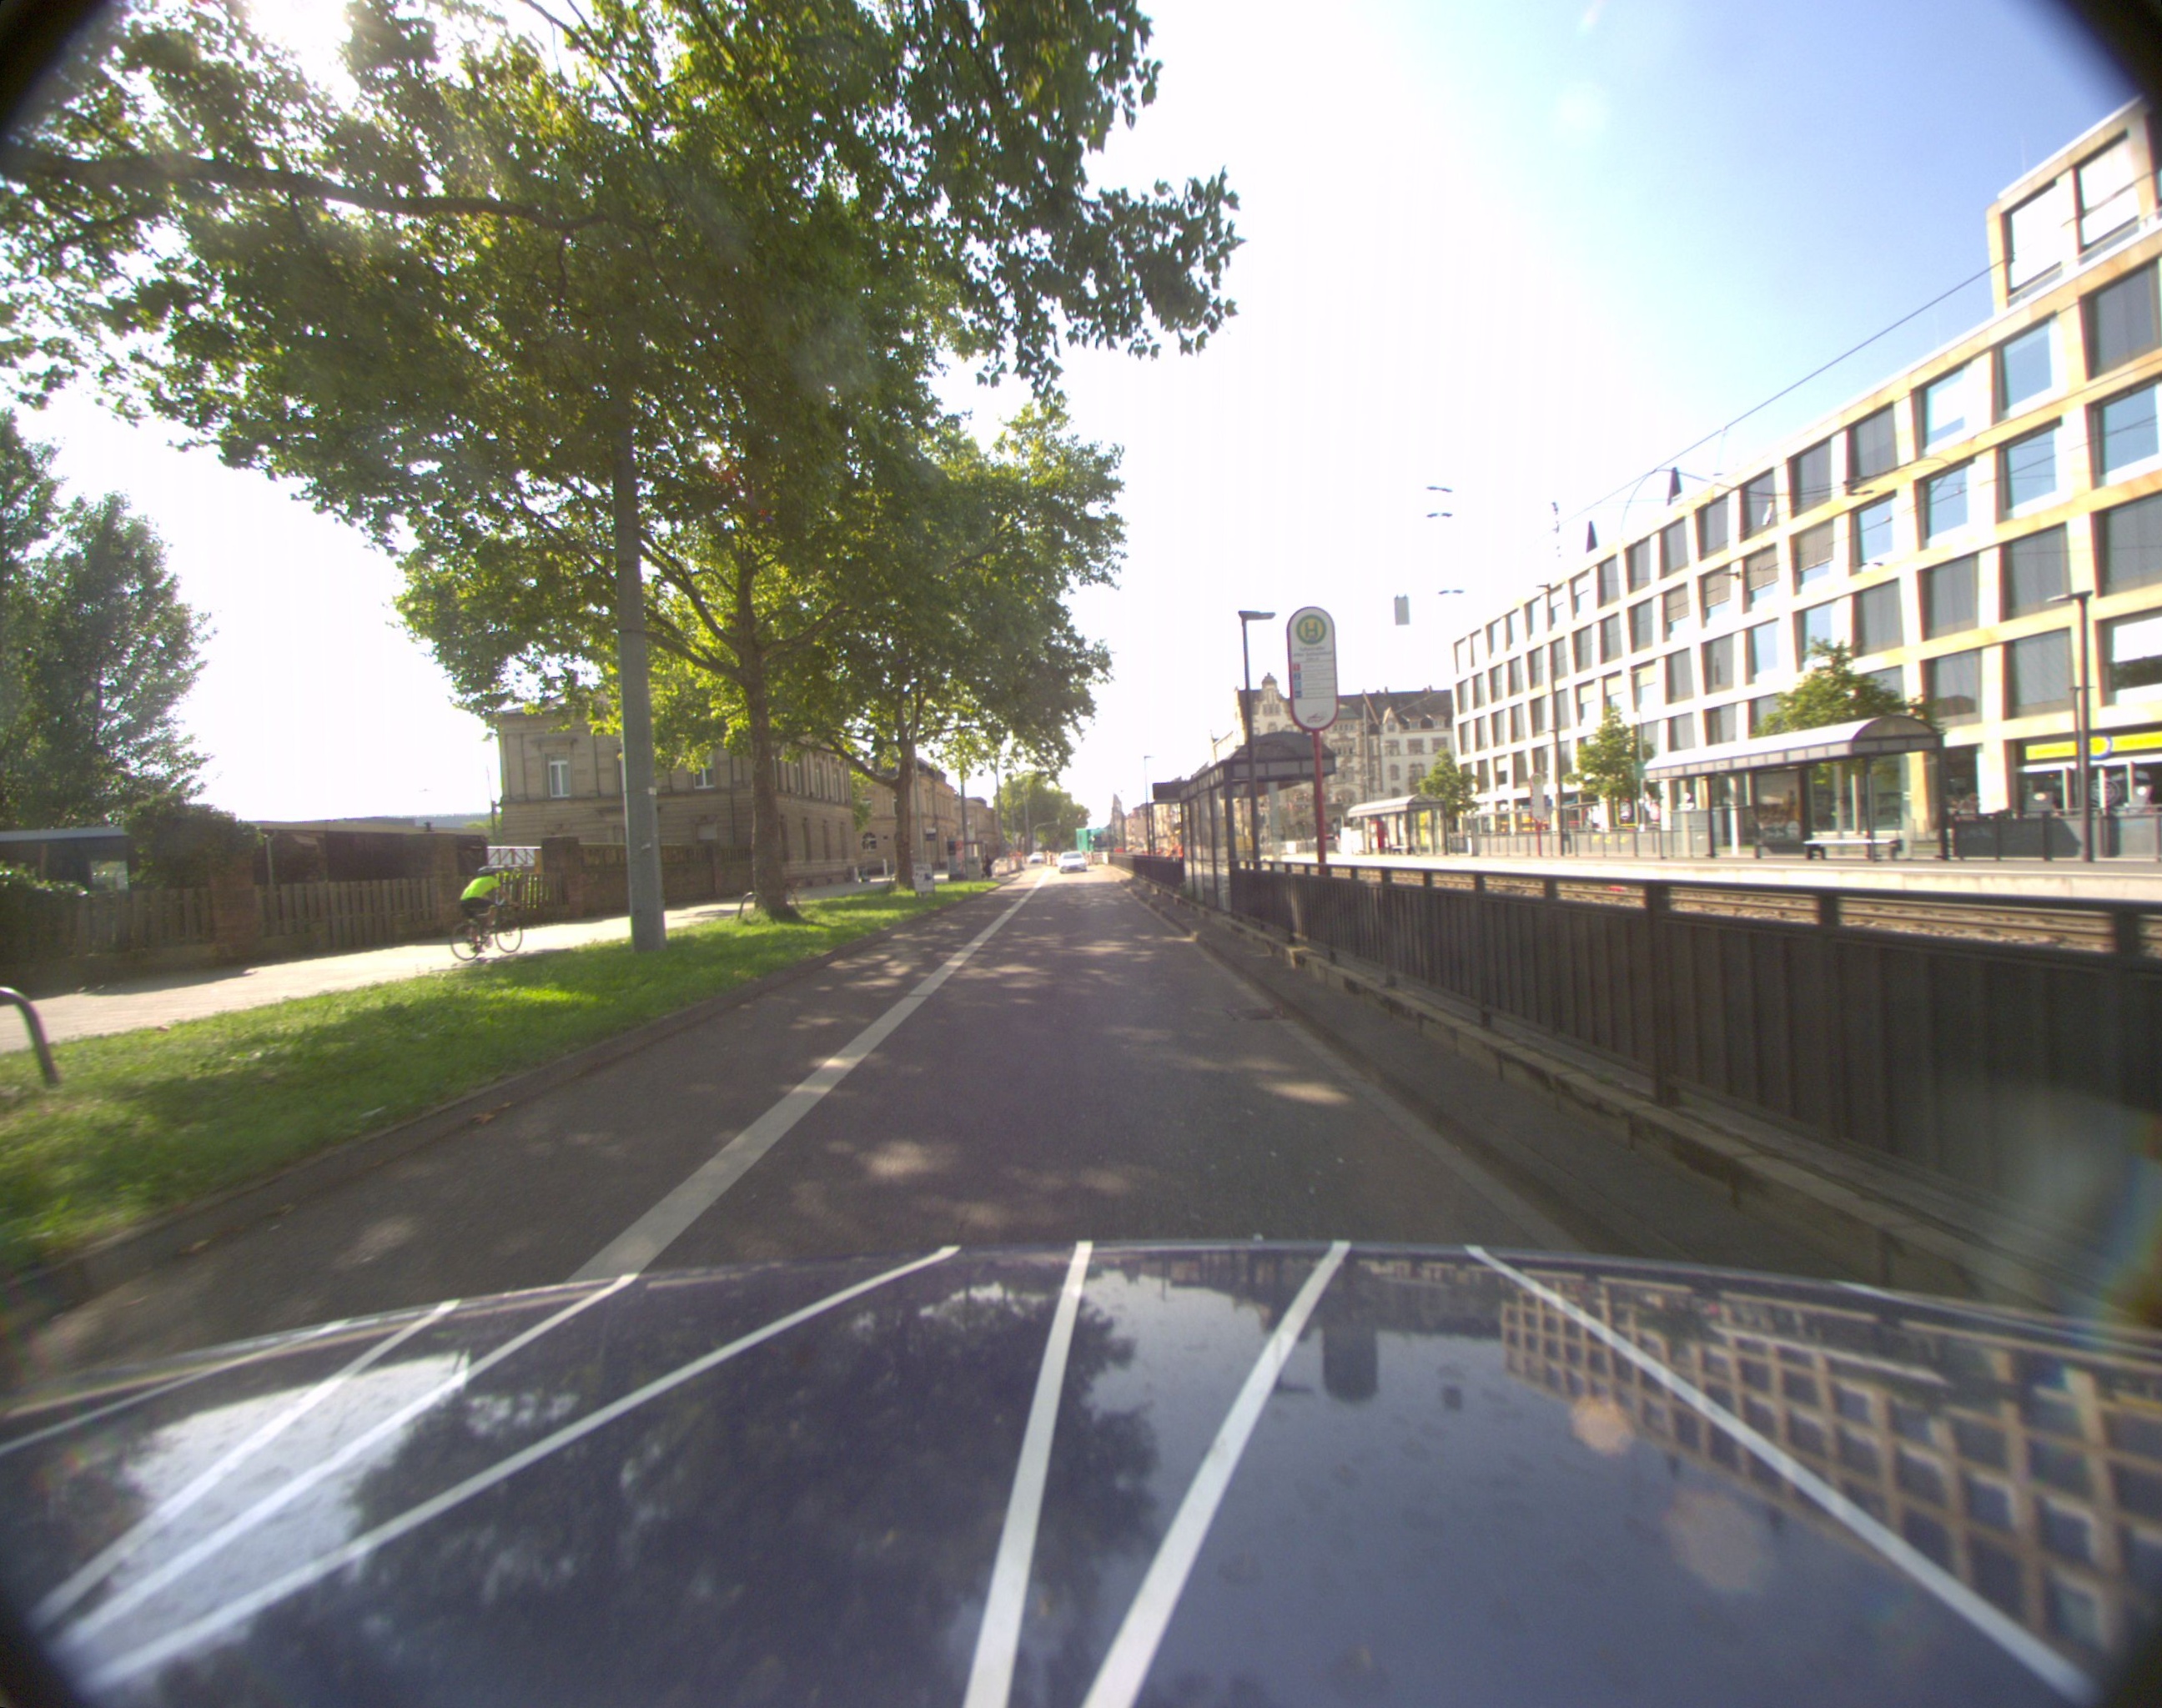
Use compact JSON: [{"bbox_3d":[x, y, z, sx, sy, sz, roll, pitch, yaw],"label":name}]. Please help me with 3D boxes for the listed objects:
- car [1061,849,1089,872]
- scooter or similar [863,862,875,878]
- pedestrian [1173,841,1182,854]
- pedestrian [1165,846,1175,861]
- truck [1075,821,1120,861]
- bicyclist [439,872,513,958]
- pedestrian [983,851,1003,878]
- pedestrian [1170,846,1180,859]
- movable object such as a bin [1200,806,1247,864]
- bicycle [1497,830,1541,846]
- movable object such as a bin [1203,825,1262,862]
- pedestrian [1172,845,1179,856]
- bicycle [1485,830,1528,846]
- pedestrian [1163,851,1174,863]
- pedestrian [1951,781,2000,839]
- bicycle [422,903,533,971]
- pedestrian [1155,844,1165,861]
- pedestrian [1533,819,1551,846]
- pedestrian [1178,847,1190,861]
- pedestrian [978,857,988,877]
[{"bbox_3d":[-0.409,0.426,53.940,1.844,1.451,4.000,-3,1,1],"label":"car"},{"bbox_3d":[-16.499,1.216,59.127,0.409,1.159,1.226,-3,1,5],"label":"scooter or similar"},{"bbox_3d":[12.136,-0.771,95.564,0.754,1.547,0.735,-4,1,-43],"label":"pedestrian"},{"bbox_3d":[8.125,-0.025,69.242,0.701,1.327,0.838,-3,1,21],"label":"pedestrian"},{"bbox_3d":[1.580,-1.216,78.690,2.817,3.766,9.007,-3,0,-10],"label":"truck"},{"bbox_3d":[-10.795,1.063,13.585,0.549,1.445,0.842,-3,1,0],"label":"bicyclist"},{"bbox_3d":[-5.437,0.650,46.946,0.885,1.616,0.821,-4,1,-35],"label":"pedestrian"},{"bbox_3d":[8.713,-0.114,70.237,0.701,1.171,0.703,-3,1,21],"label":"pedestrian"},{"bbox_3d":[11.817,-1.530,63.463,2.994,4.528,4.212,-3,0,2],"label":"movable object such as a bin"},{"bbox_3d":[29.651,-1.062,51.440,2.437,0.962,0.945,-3,0,-2],"label":"bicycle"},{"bbox_3d":[14.258,-0.968,71.845,4.127,3.204,3.563,-3,0,-15],"label":"movable object such as a bin"},{"bbox_3d":[11.540,-0.433,92.725,0.678,1.239,0.547,-3,1,-2],"label":"pedestrian"},{"bbox_3d":[29.589,-1.103,52.876,2.437,0.962,1.020,-3,0,-2],"label":"bicycle"},{"bbox_3d":[7.285,0.238,63.266,0.702,0.949,0.882,-3,0,0],"label":"pedestrian"},{"bbox_3d":[32.265,-1.581,27.412,0.769,2.002,0.822,-3,1,4],"label":"pedestrian"},{"bbox_3d":[-10.773,1.450,13.642,0.549,1.001,1.713,-3,1,0],"label":"bicycle"},{"bbox_3d":[7.376,-0.139,70.826,0.741,1.470,0.704,-3,1,22],"label":"pedestrian"},{"bbox_3d":[34.014,-1.602,56.050,0.854,2.002,0.690,0,2,-1],"label":"pedestrian"},{"bbox_3d":[8.695,0.032,64.094,0.701,1.148,0.589,-3,1,39],"label":"pedestrian"},{"bbox_3d":[-6.599,0.873,51.136,0.610,1.270,0.759,-2,1,-3],"label":"pedestrian"}]
